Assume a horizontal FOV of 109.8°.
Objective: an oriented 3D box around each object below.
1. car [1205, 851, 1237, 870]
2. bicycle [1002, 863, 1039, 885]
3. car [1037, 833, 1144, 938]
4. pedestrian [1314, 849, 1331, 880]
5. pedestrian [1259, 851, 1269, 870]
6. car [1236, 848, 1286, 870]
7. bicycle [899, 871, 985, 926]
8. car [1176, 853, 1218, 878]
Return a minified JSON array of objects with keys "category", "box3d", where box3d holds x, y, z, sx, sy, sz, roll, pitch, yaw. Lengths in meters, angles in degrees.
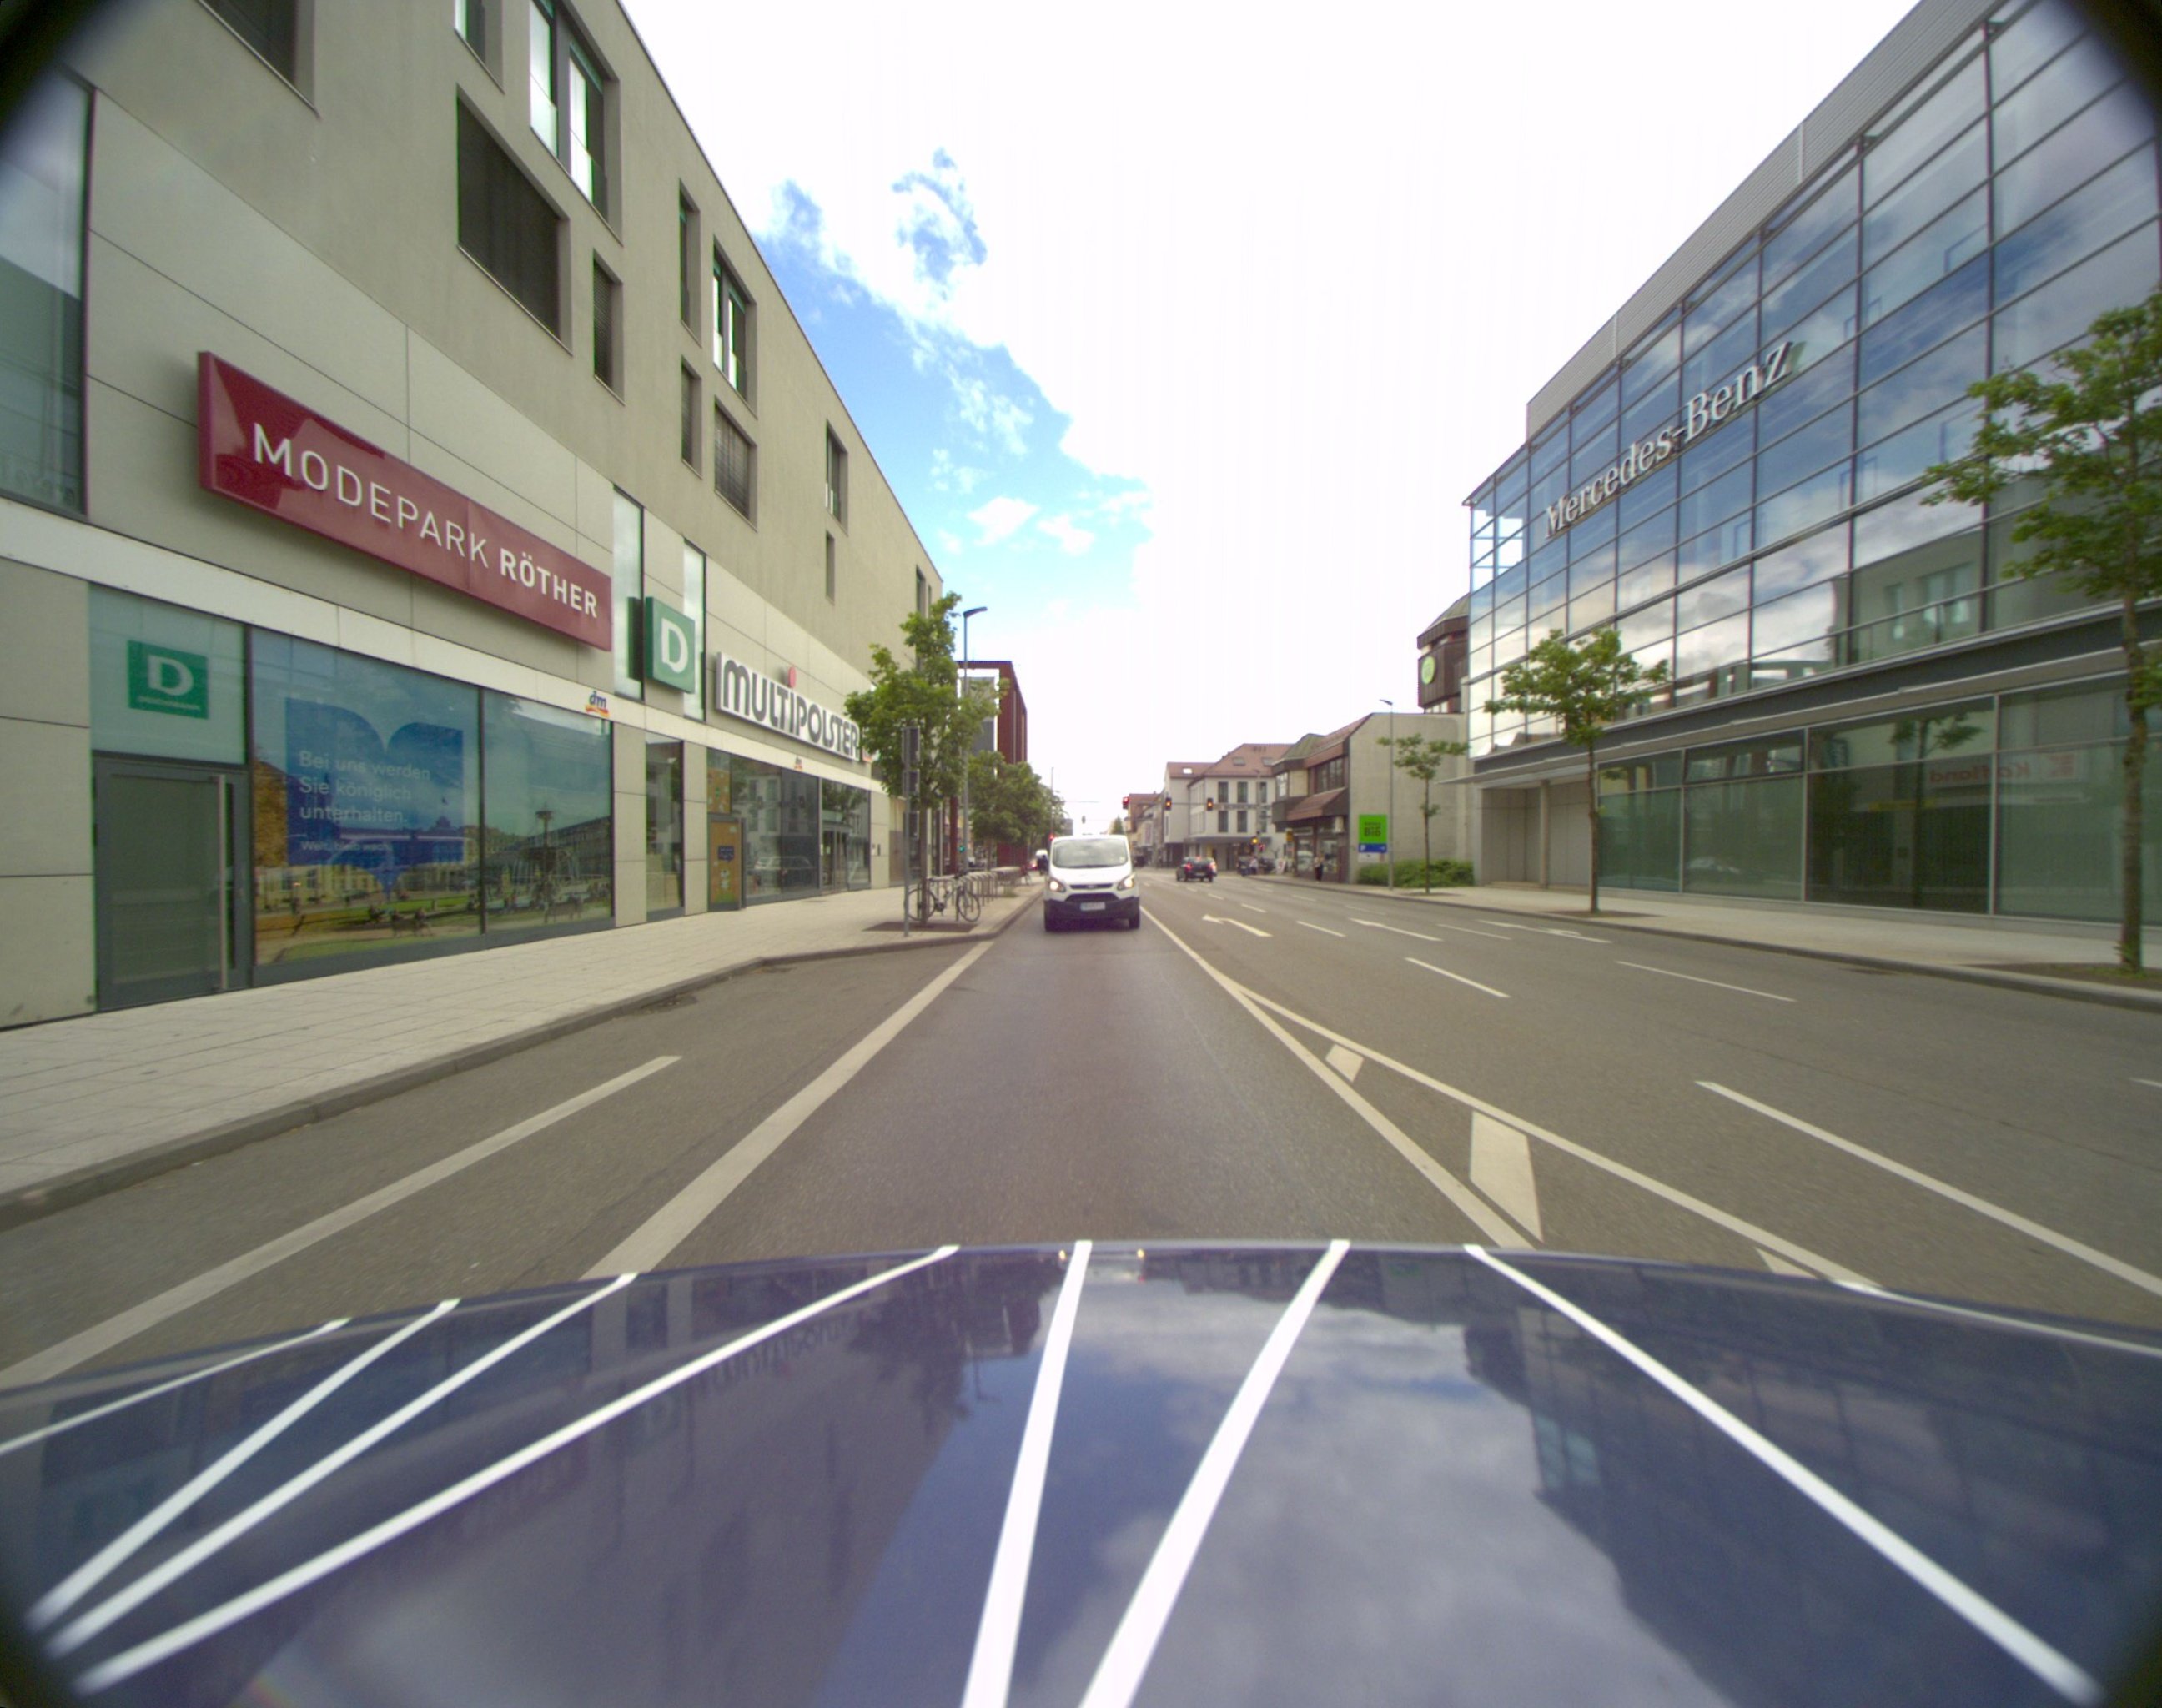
[{"category":"car","box3d":[11.242,0.513,61.122,1.937,1.458,4.000,1,0,1]},{"category":"bicycle","box3d":[-2.920,0.962,36.440,1.745,1.015,0.451,1,1,-6]},{"category":"car","box3d":[0.210,0.578,17.193,2.000,1.976,5.000,-2,1,1]},{"category":"pedestrian","box3d":[12.975,0.552,40.857,0.702,1.614,0.693,0,1,1]},{"category":"pedestrian","box3d":[14.605,0.544,60.578,0.555,1.507,0.582,0,1,-32]},{"category":"car","box3d":[15.786,0.438,66.553,4.007,1.883,1.933,0,1,-32]},{"category":"bicycle","box3d":[-2.973,0.956,16.367,1.745,1.093,0.561,2,0,-6]},{"category":"car","box3d":[6.972,0.664,46.132,1.803,1.458,3.999,0,0,-2]}]
